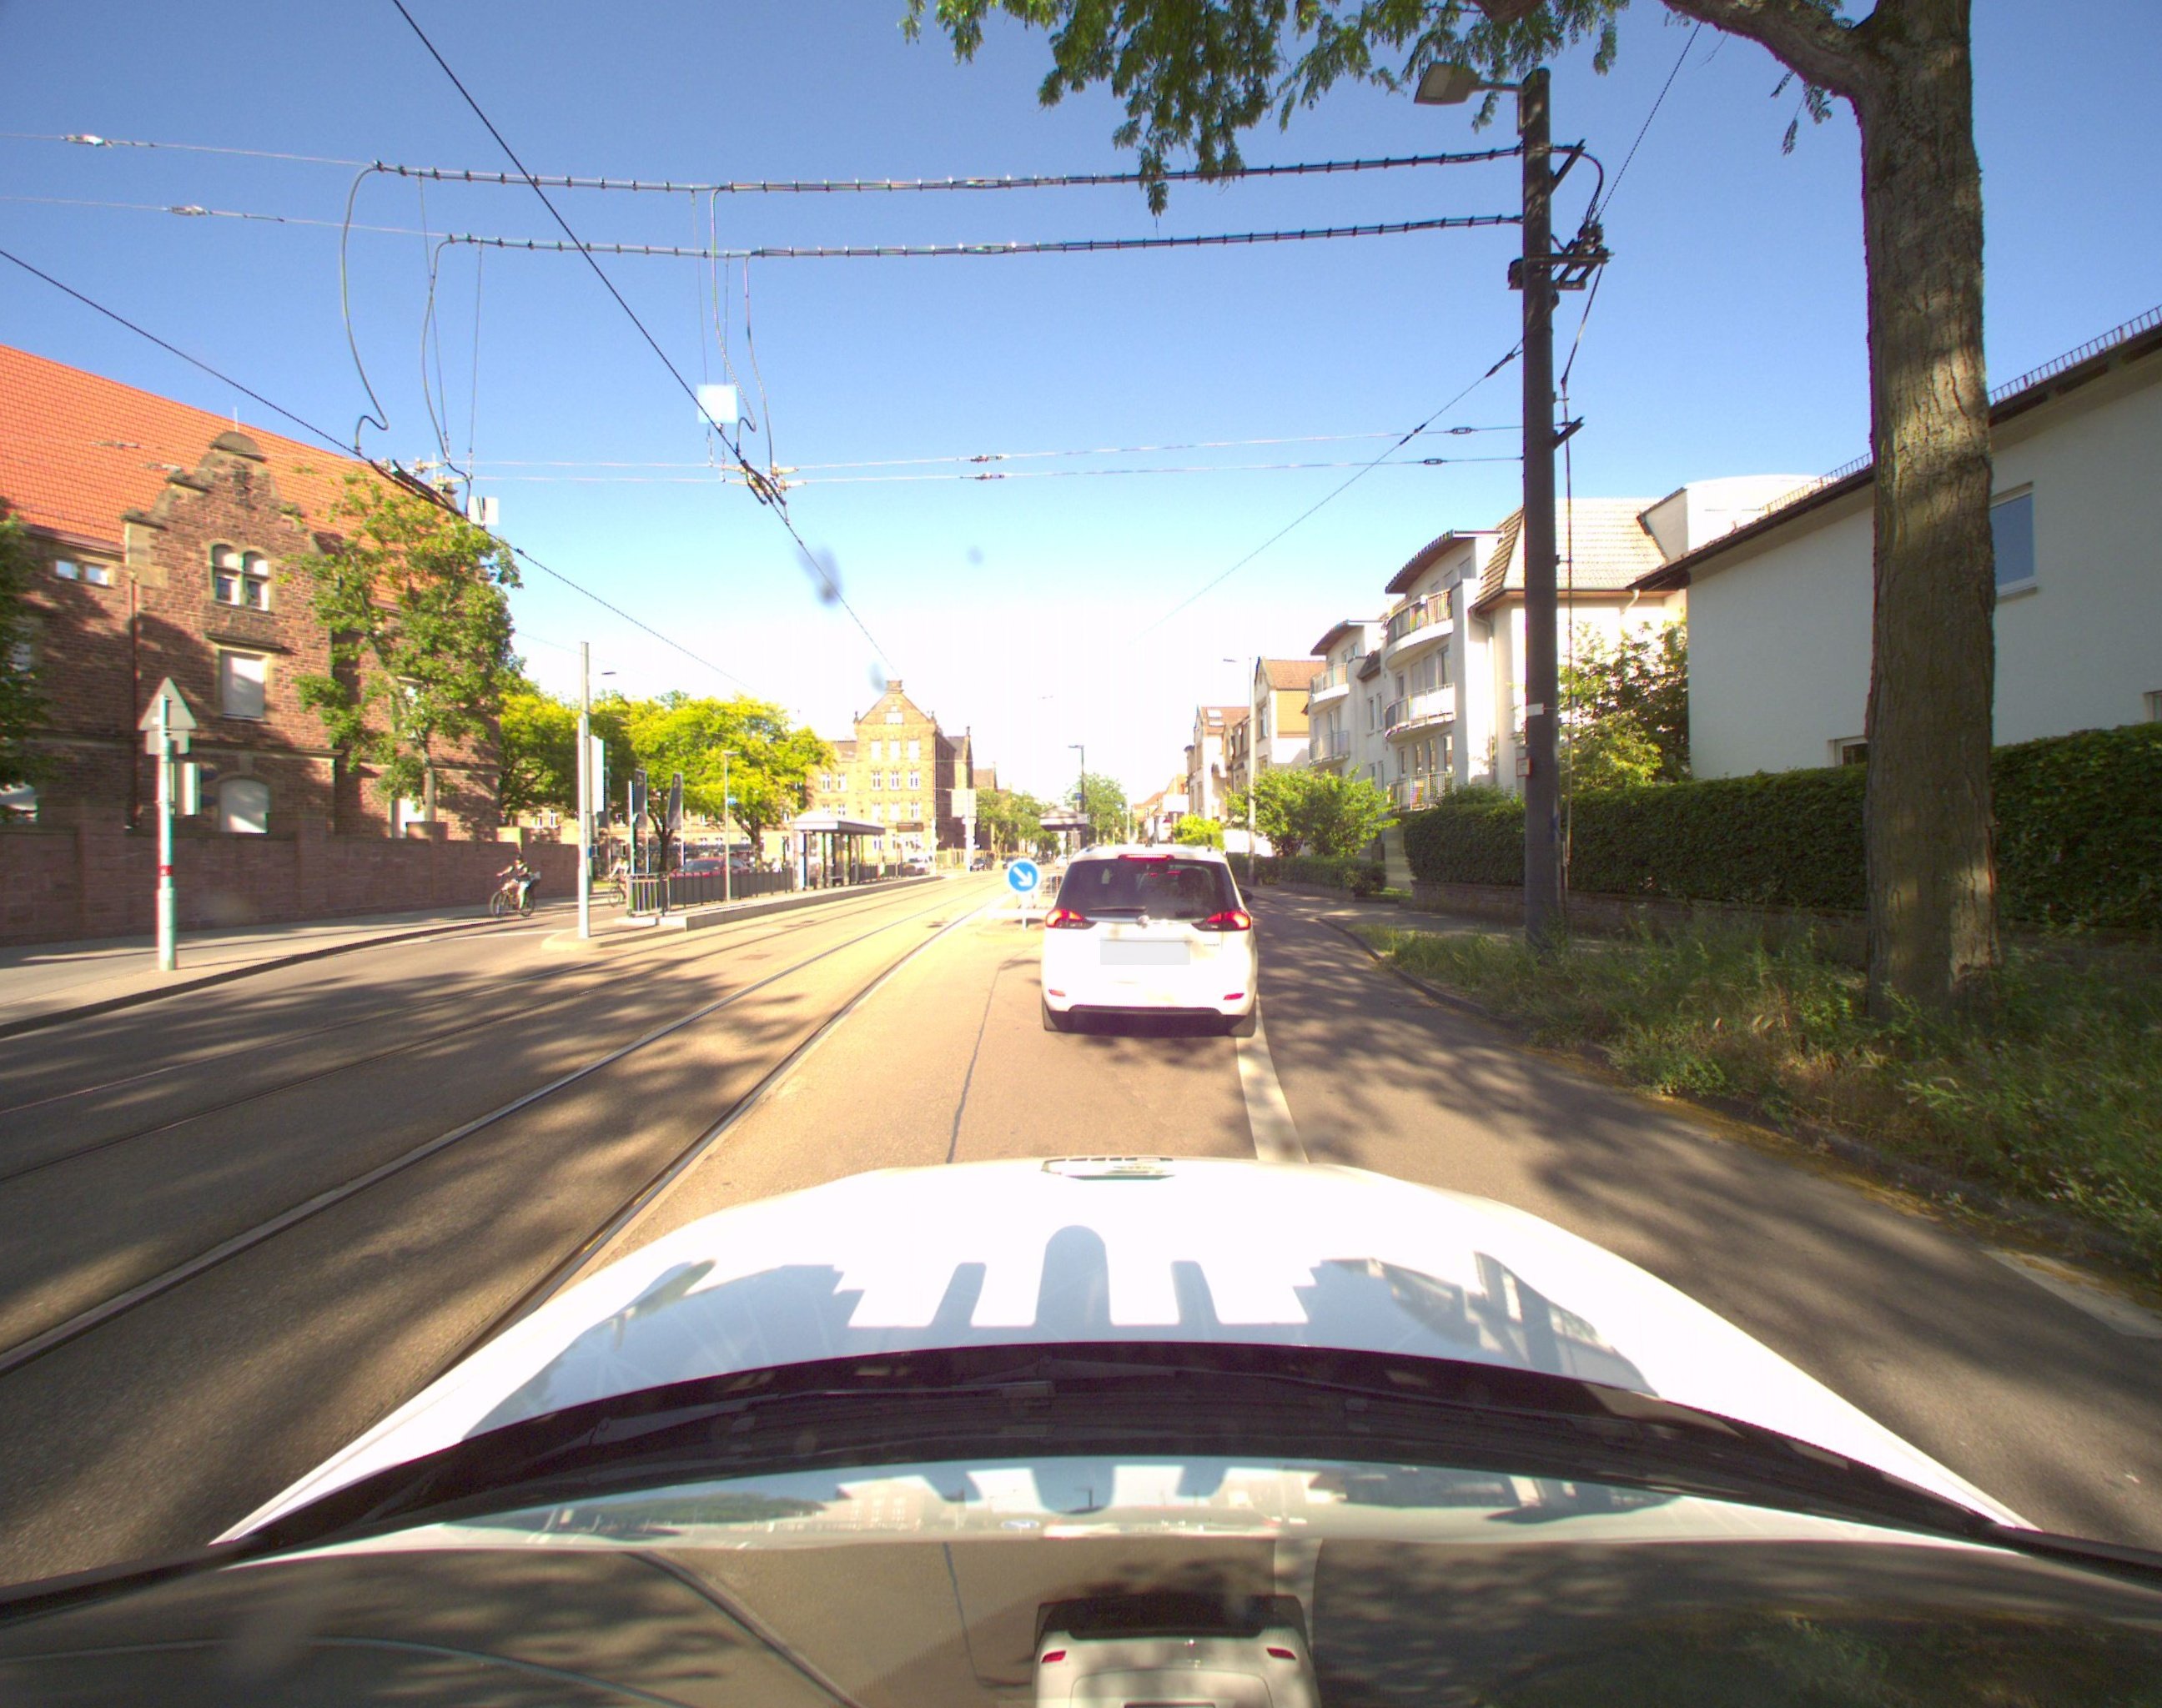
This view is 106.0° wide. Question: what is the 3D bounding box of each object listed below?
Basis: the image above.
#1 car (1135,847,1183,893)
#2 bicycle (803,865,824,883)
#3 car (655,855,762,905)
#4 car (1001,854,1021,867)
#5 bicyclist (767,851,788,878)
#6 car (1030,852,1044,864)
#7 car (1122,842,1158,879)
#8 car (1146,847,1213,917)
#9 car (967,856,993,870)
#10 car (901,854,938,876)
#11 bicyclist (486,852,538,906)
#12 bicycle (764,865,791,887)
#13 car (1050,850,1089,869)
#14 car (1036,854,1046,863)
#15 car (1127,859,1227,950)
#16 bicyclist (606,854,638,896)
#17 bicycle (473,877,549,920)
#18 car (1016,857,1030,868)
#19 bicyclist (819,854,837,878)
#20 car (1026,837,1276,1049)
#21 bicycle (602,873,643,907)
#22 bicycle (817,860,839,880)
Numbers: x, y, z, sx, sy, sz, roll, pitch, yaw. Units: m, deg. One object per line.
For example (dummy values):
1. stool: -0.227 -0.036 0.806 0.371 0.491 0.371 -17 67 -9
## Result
1. car: 2.991 0.582 31.681 1.590 1.635 3.903 1 0 2
2. bicycle: -16.982 1.262 51.745 0.667 1.072 2.015 0 0 0
3. car: -13.057 0.850 28.871 1.813 1.607 4.357 -1 0 -1
4. car: -8.658 0.808 101.171 1.819 1.617 4.331 -1 -1 3
5. bicyclist: -16.968 0.576 45.559 0.754 1.471 1.189 0 -1 -2
6. car: -7.590 0.614 142.188 1.985 2.013 4.003 -1 0 3
7. car: 2.851 0.288 40.232 1.590 1.634 3.903 1 2 2
8. car: 2.560 0.650 21.102 1.560 1.614 3.792 1 0 7
9. car: -10.710 0.973 86.909 1.789 1.382 4.502 -1 0 6
10. car: -13.616 0.931 68.918 1.817 1.788 4.263 -1 0 7
11. bicyclist: -15.865 0.670 22.727 0.651 1.459 1.151 -1 0 -2
12. bicycle: -16.960 1.219 45.548 0.813 1.198 1.951 0 0 -2
13. car: -1.299 0.562 88.850 2.012 2.013 3.950 -1 0 -45
14. car: -7.388 0.882 152.167 1.657 1.651 3.999 -1 0 0
15. car: 1.773 0.809 14.864 1.560 1.401 3.792 1 0 7
16. bicyclist: -16.100 0.722 28.597 0.653 1.459 1.147 -1 0 -12
17. bicycle: -15.848 1.214 22.701 0.682 1.089 2.063 -1 0 -1
18. car: -8.053 1.209 113.539 1.823 1.446 4.322 -1 -1 -3
19. bicyclist: -15.953 0.748 51.350 0.758 1.536 1.347 -1 0 -2
20. car: 0.774 0.678 8.189 1.868 1.585 4.008 -1 0 7
21. bicycle: -16.098 1.292 28.632 0.685 1.089 1.847 -2 -4 -11
22. bicycle: -15.949 0.999 51.348 0.775 1.231 2.087 -1 0 -2
